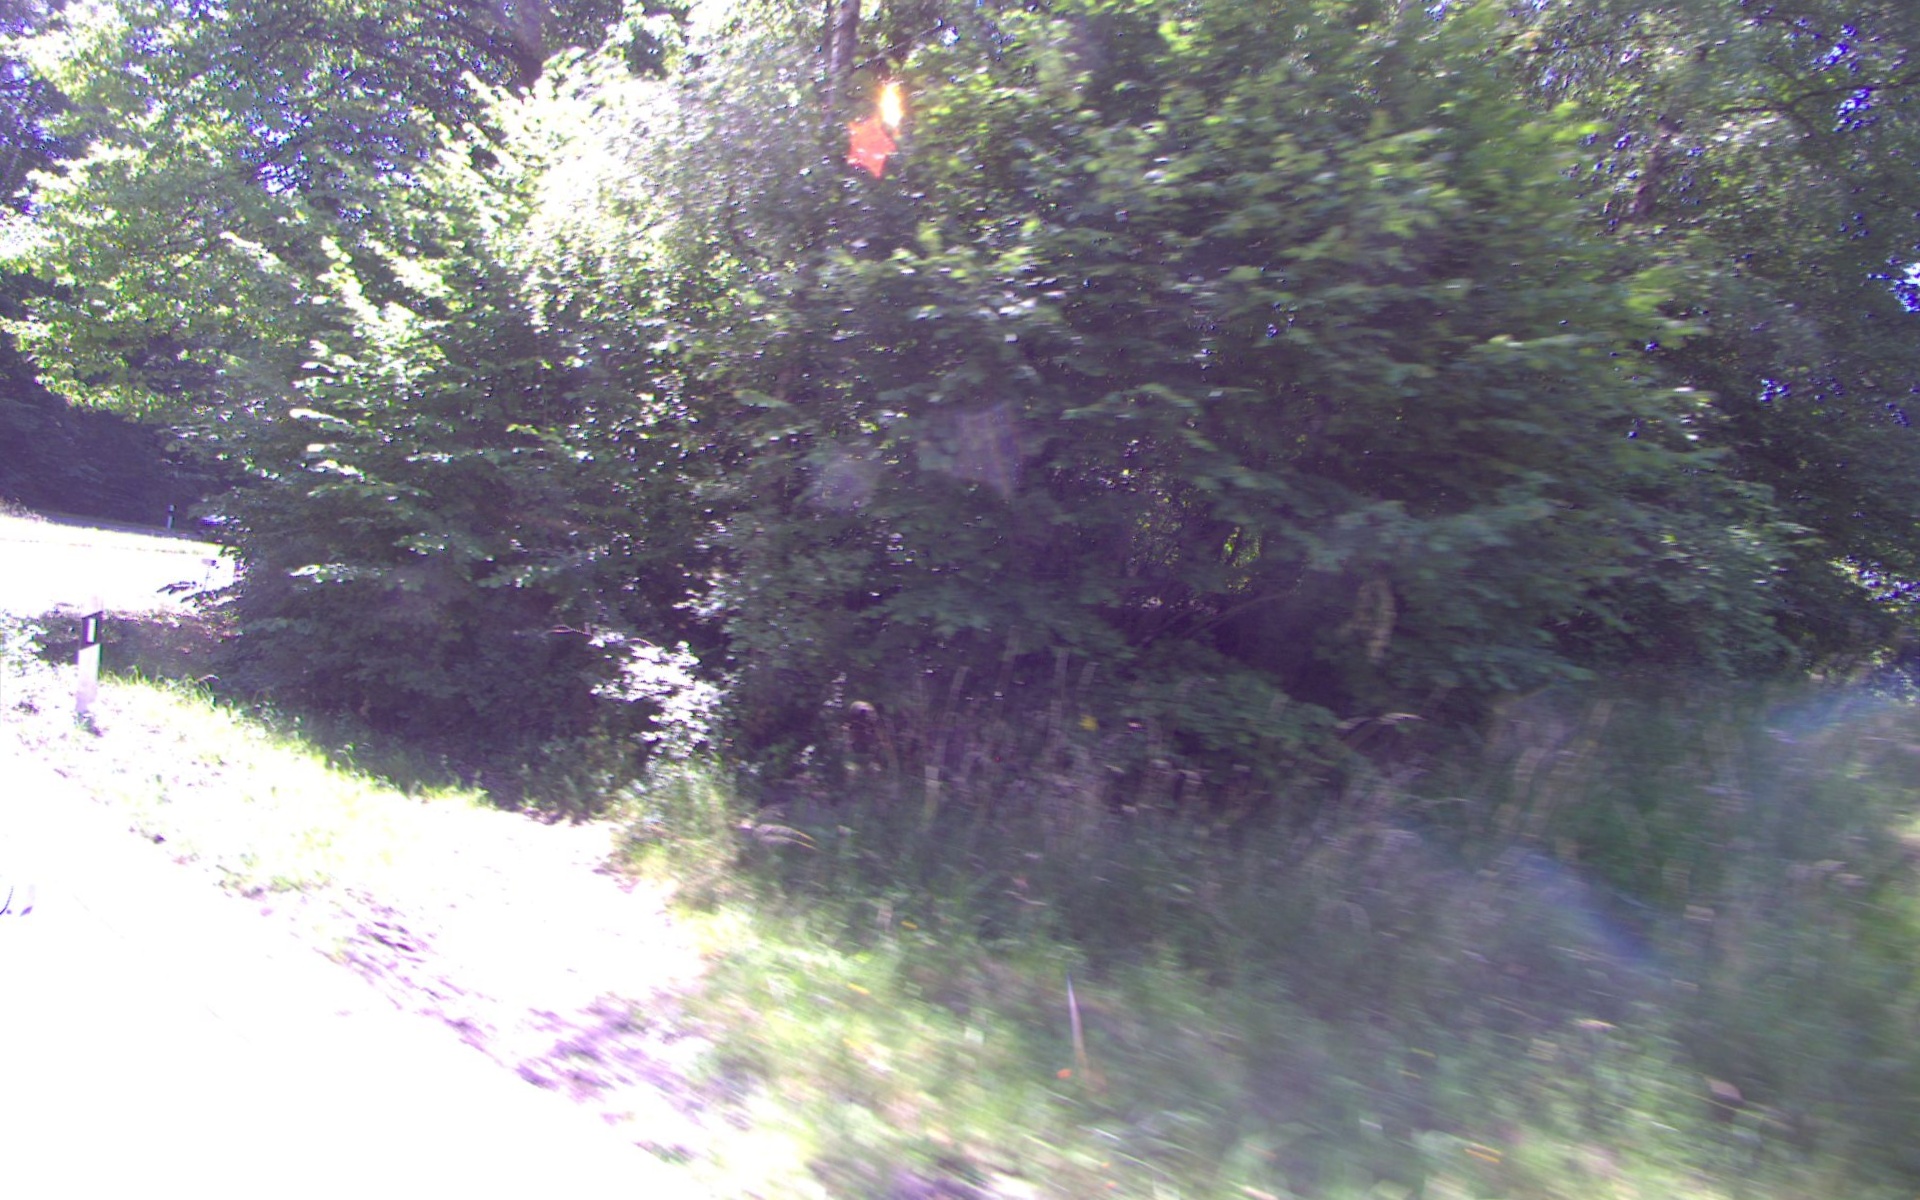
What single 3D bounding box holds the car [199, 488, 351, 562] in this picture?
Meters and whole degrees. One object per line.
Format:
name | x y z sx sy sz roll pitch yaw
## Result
car | -31.559 -3.385 46.605 2.030 2.373 5.431 11 0 19
